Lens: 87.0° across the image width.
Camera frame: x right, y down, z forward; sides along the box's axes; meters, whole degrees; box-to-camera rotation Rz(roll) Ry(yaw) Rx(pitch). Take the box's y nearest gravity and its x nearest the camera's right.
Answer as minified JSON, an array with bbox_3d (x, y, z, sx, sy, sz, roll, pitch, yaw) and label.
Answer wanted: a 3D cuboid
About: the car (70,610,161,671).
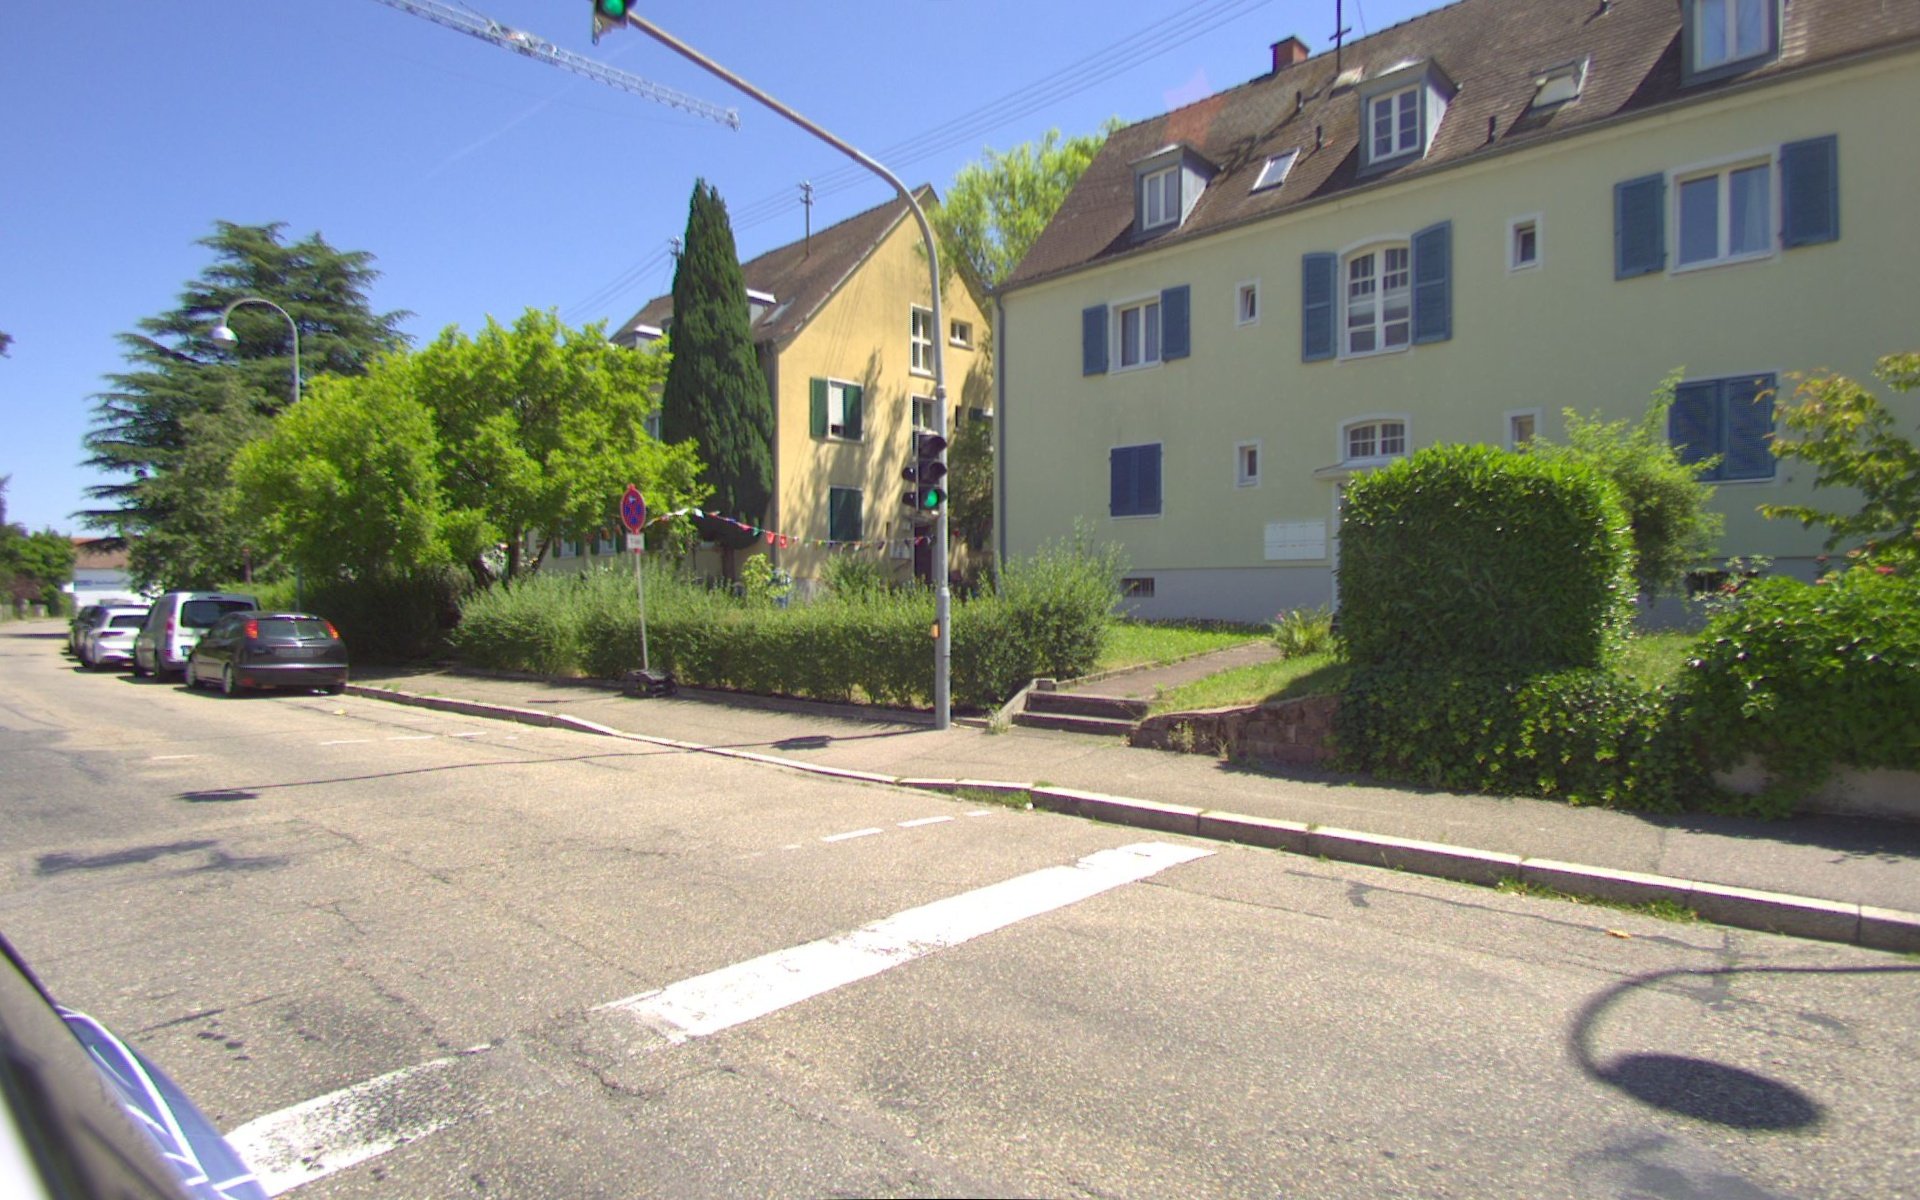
[{"bbox_3d":[-24.616,1.124,29.443,1.661,1.649,4.333,1,-1,-45],"label":"car"}]

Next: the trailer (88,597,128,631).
[{"bbox_3d":[-52.468,0.866,62.376,1.791,2.049,4.007,2,-2,-39],"label":"trailer"}]

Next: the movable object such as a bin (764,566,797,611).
[{"bbox_3d":[-4.897,-0.303,27.600,0.674,1.205,0.614,-1,0,43],"label":"movable object such as a bin"}]

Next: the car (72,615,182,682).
[{"bbox_3d":[-20.126,1.114,24.382,1.661,1.452,4.250,1,-1,-45],"label":"car"}]

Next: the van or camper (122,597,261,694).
[{"bbox_3d":[-15.995,0.879,20.993,3.986,1.818,1.662,0,-1,44],"label":"van or camper"}]

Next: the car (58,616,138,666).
[{"bbox_3d":[-28.260,1.294,33.127,1.661,1.487,4.333,1,-1,-45],"label":"car"}]

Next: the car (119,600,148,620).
[{"bbox_3d":[-76.055,0.953,93.160,1.864,1.772,3.620,2,-2,-37],"label":"car"}]

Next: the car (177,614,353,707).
[{"bbox_3d":[-12.216,0.972,17.705,3.925,1.423,1.663,0,-1,42],"label":"car"}]
